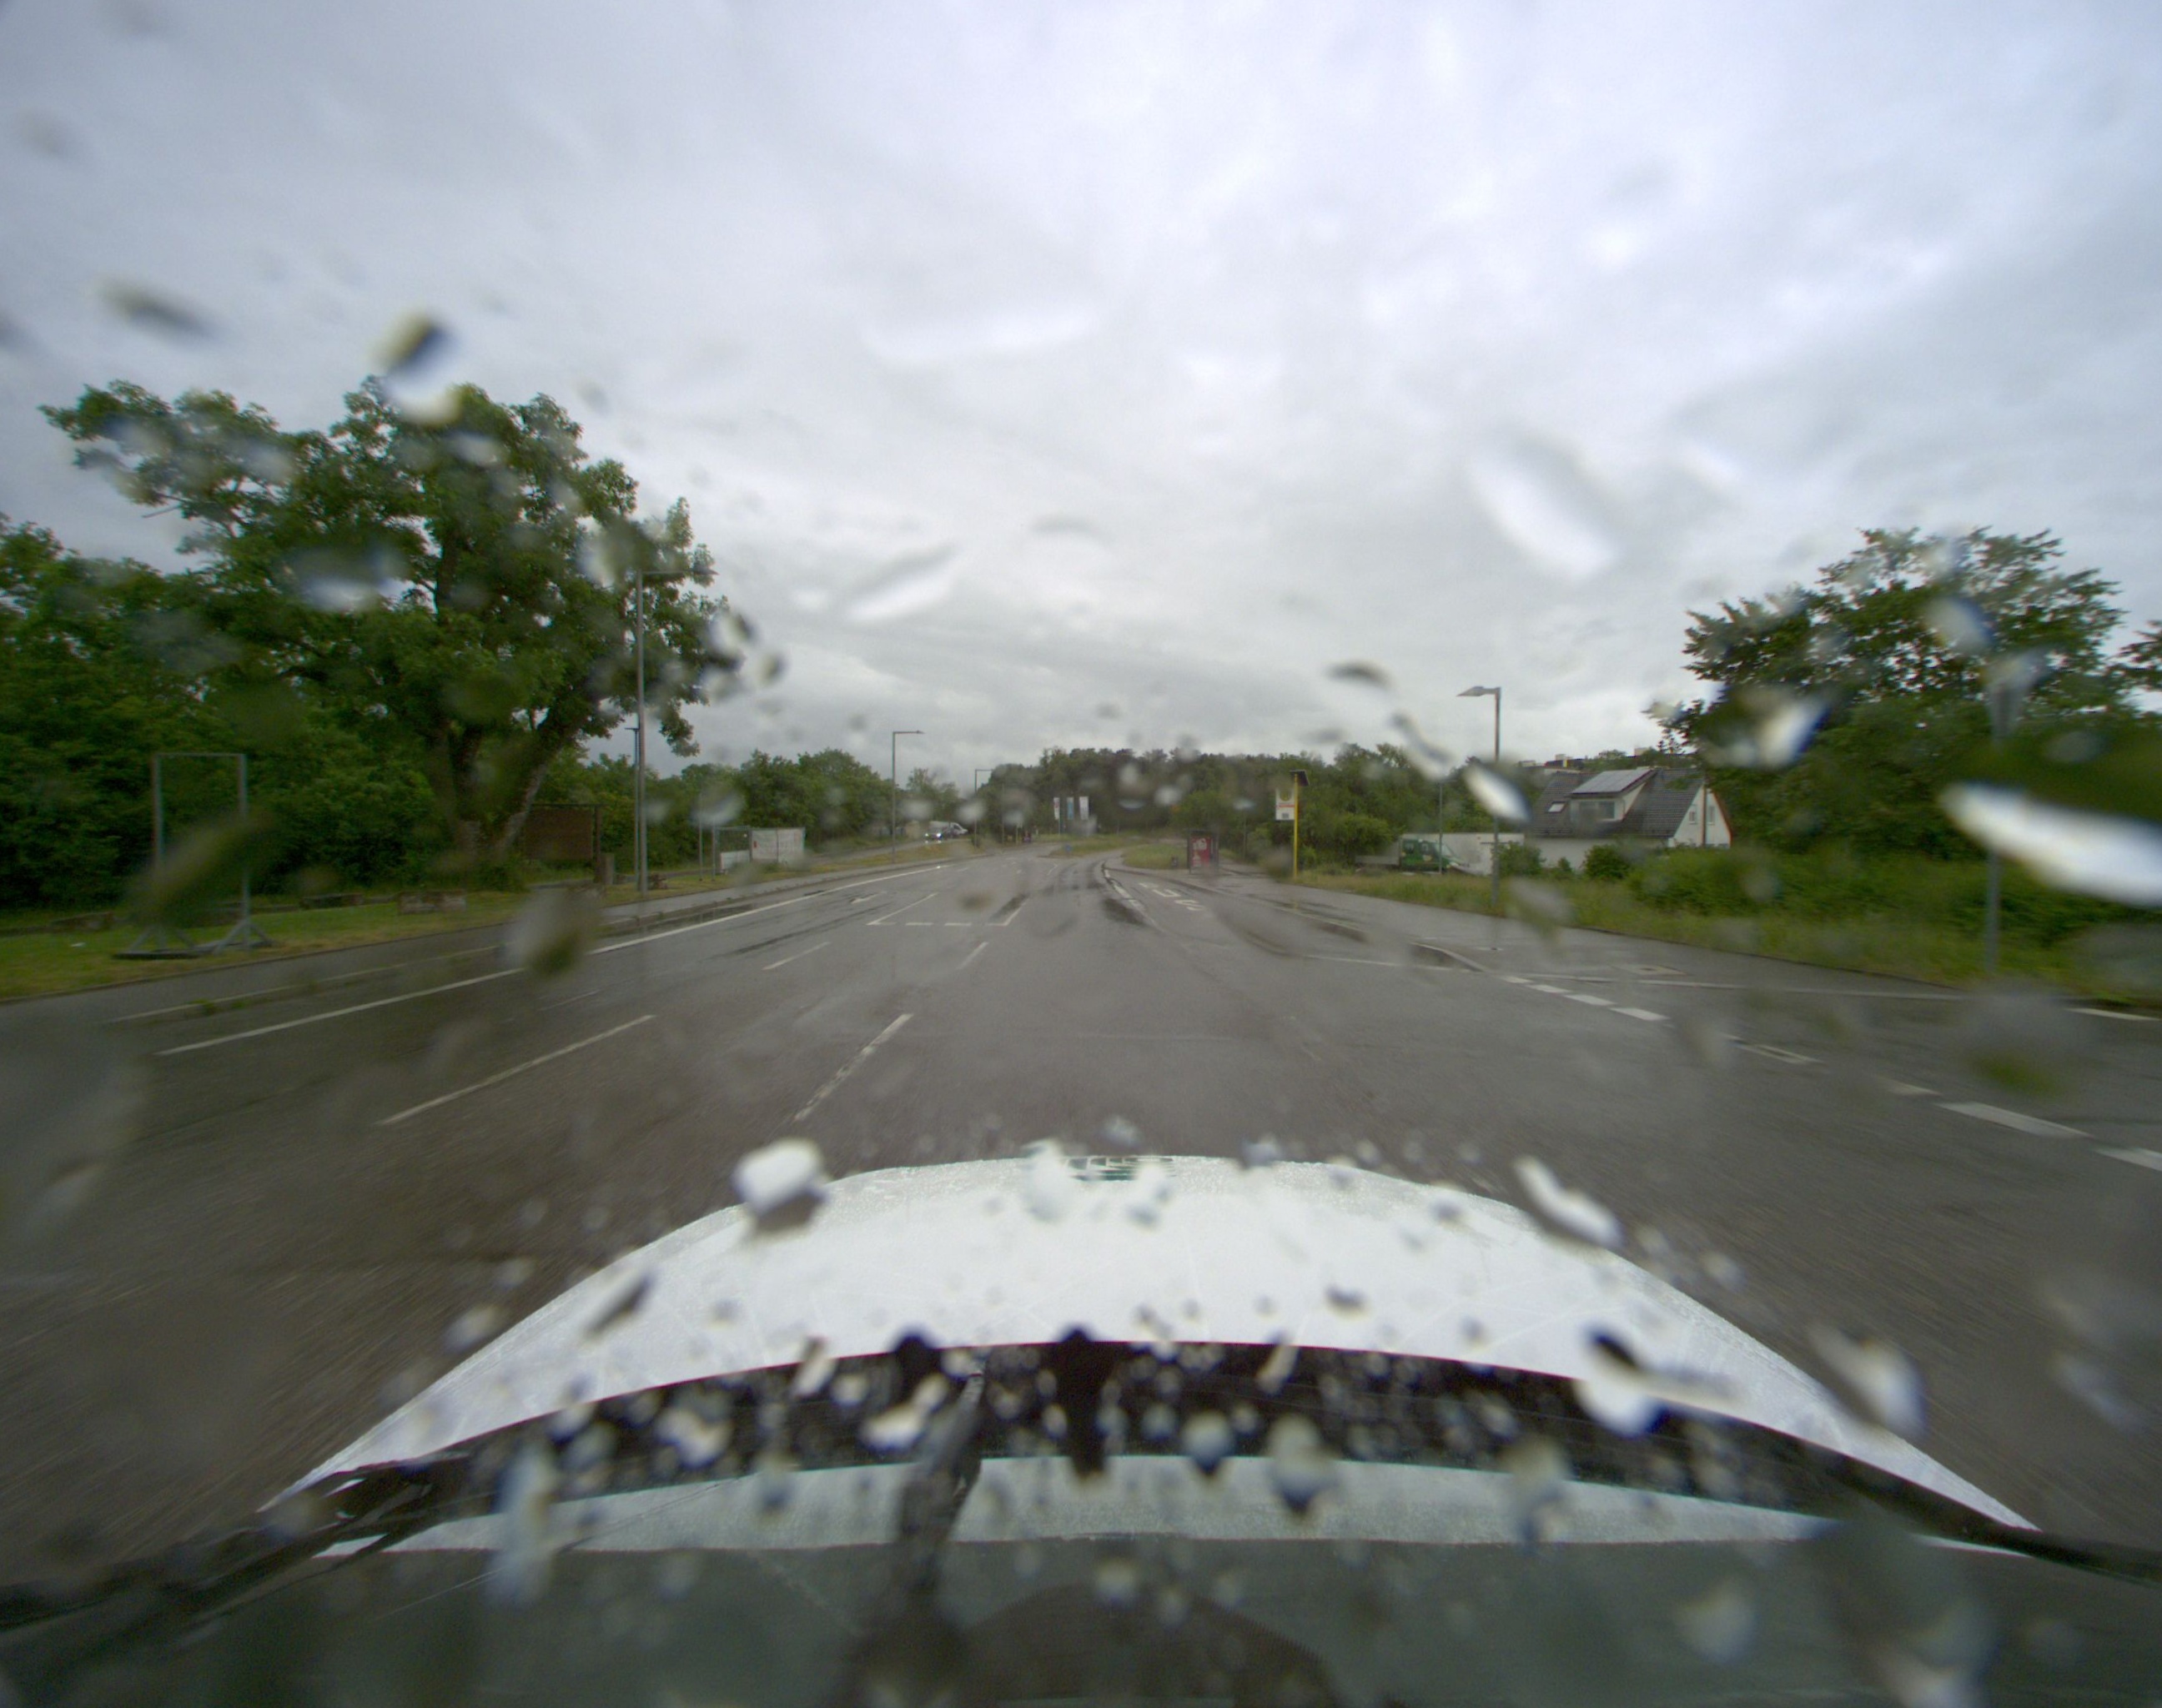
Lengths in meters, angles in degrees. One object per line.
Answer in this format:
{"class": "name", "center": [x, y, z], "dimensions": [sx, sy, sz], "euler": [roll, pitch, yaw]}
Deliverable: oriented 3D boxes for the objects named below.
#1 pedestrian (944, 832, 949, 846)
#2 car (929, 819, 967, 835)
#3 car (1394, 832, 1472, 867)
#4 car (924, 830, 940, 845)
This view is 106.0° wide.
{"class": "pedestrian", "center": [-15.730, -1.810, 95.399], "dimensions": [0.566, 1.620, 0.634], "euler": [0, -1, -12]}
{"class": "car", "center": [-20.653, -4.180, 126.547], "dimensions": [5.658, 2.404, 1.999], "euler": [0, 0, -1]}
{"class": "car", "center": [19.157, -0.228, 44.343], "dimensions": [2.010, 1.691, 3.382], "euler": [4, -4, -41]}
{"class": "car", "center": [-17.300, -1.873, 94.467], "dimensions": [1.690, 1.620, 3.879], "euler": [0, 0, -12]}
